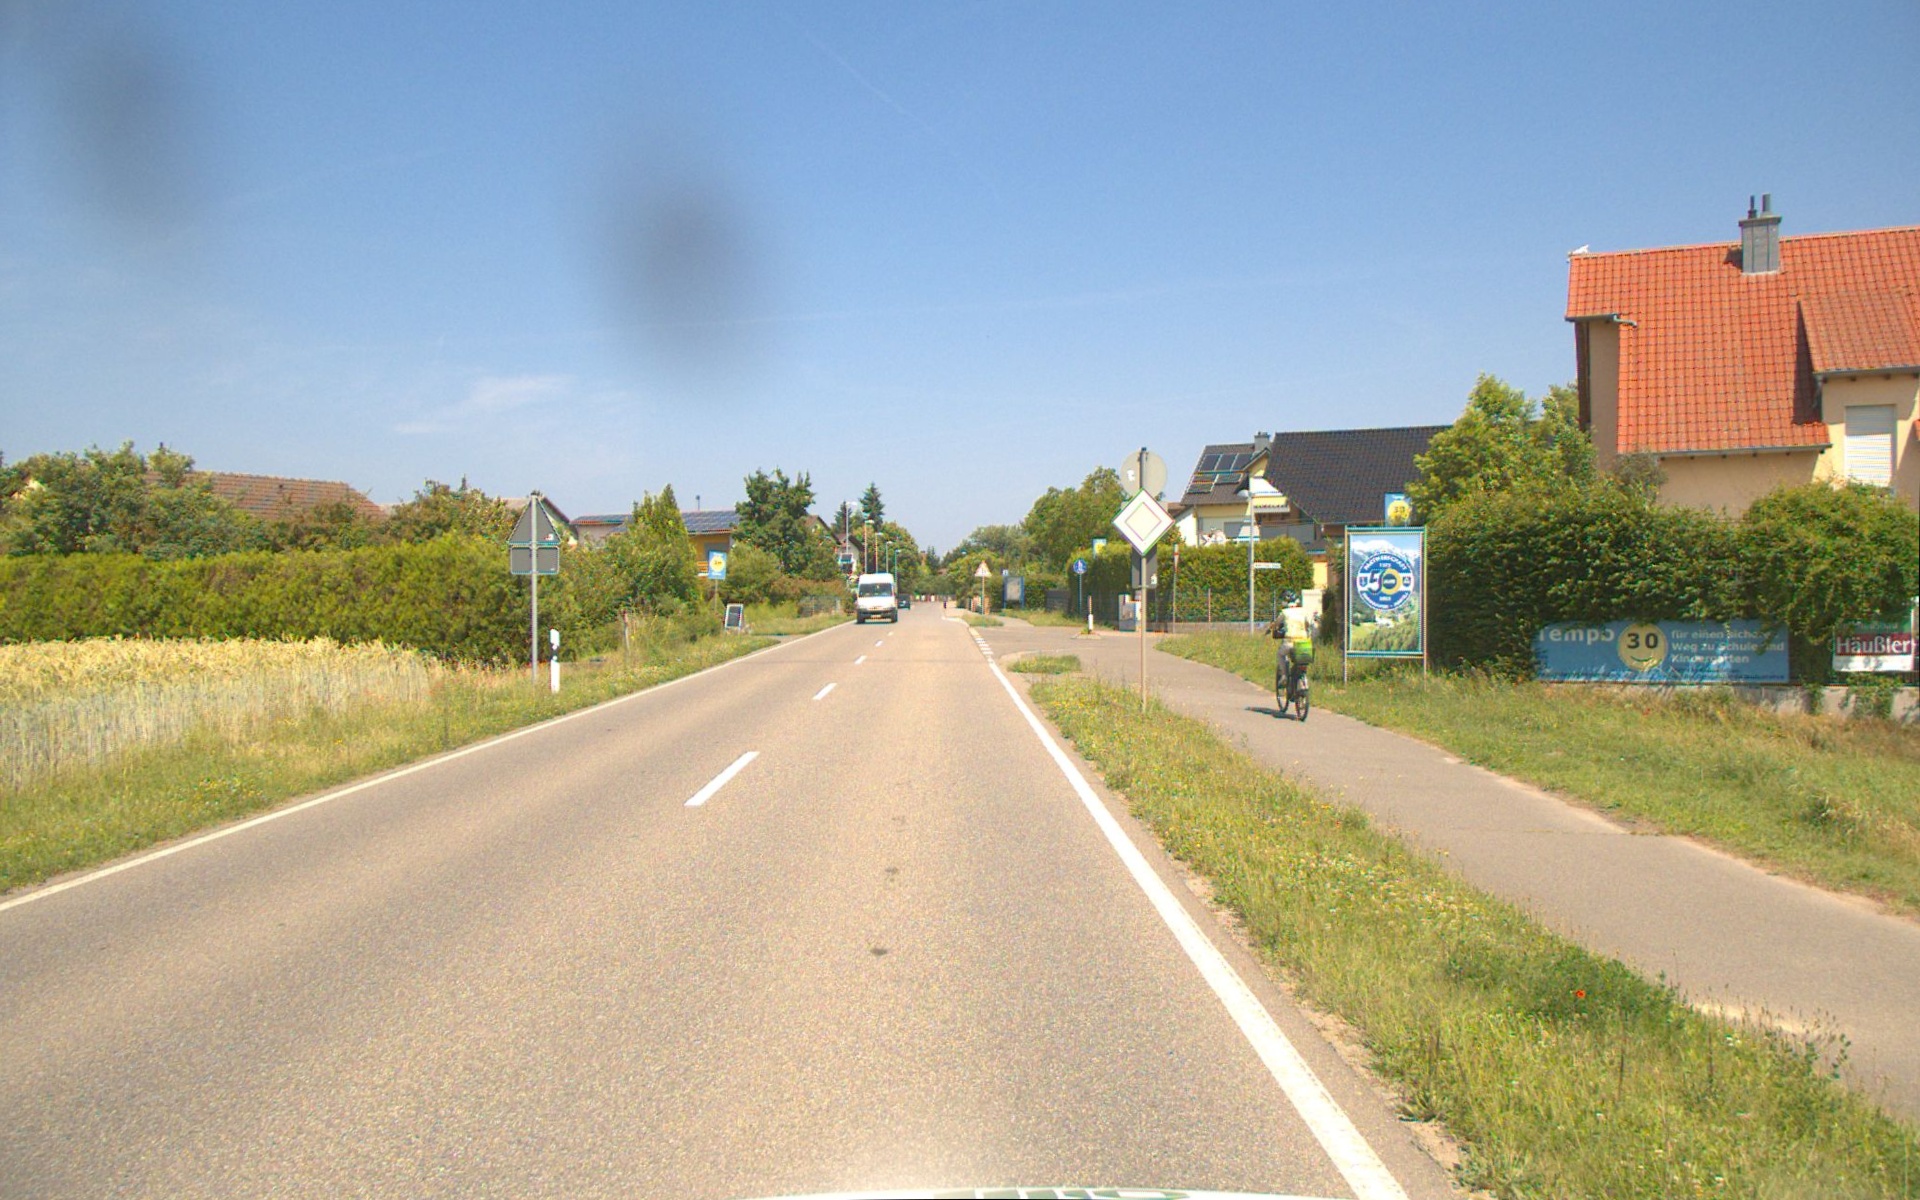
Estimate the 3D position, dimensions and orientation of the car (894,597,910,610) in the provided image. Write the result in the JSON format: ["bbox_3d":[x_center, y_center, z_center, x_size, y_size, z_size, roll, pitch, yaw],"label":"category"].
[{"bbox_3d":[-6.741,0.403,192.201,1.723,1.409,3.452,-2,0,-1],"label":"car"}]

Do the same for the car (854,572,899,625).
[{"bbox_3d":[-4.210,-0.110,84.449,2.035,2.586,5.872,-2,1,-1],"label":"car"}]

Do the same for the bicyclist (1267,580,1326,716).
[{"bbox_3d":[4.860,0.677,23.907,0.632,1.922,0.861,1,1,-2],"label":"bicyclist"}]

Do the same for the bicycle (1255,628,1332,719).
[{"bbox_3d":[4.843,1.041,24.125,0.598,1.179,2.274,1,1,-1],"label":"bicycle"}]
